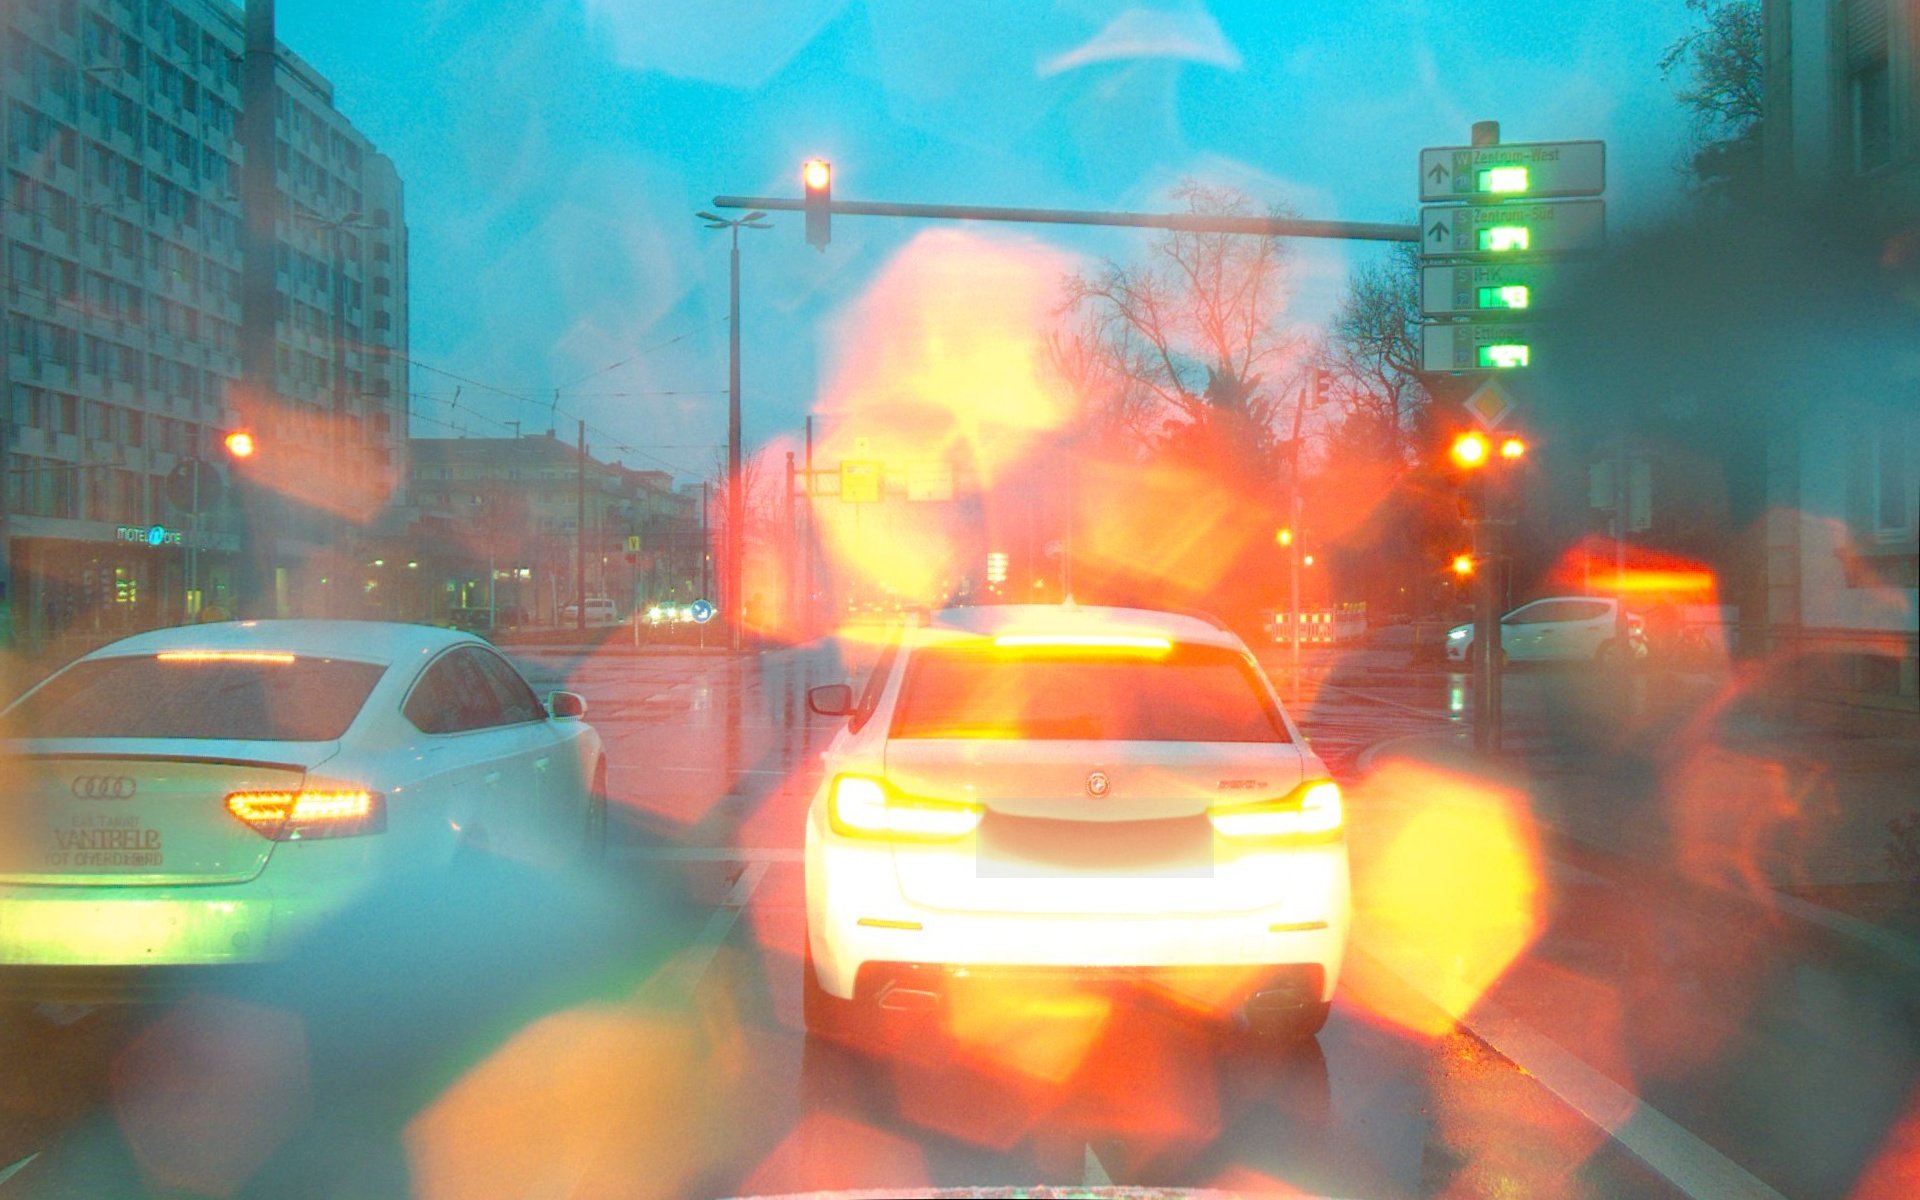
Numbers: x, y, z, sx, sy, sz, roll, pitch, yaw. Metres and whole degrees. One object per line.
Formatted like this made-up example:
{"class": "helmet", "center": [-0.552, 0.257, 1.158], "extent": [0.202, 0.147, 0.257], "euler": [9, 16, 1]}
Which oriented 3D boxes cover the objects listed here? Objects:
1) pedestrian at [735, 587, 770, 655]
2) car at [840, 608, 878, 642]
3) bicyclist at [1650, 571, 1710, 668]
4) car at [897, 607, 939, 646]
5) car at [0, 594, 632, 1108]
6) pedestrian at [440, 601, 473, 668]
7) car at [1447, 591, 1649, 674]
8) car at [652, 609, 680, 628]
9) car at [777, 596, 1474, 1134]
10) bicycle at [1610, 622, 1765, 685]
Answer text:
{"class": "pedestrian", "center": [-5.848, 0.584, 46.584], "extent": [0.887, 1.888, 0.810], "euler": [2, -1, -12]}
{"class": "car", "center": [-5.000, 1.240, 82.209], "extent": [1.806, 1.637, 3.942], "euler": [1, -1, -3]}
{"class": "bicyclist", "center": [13.647, 0.367, 31.365], "extent": [0.952, 1.789, 0.813], "euler": [1, -1, 18]}
{"class": "car", "center": [-1.884, 1.189, 74.169], "extent": [1.806, 1.637, 3.943], "euler": [1, -1, -2]}
{"class": "car", "center": [-2.707, 0.724, 6.983], "extent": [1.954, 1.481, 4.366], "euler": [0, 0, -3]}
{"class": "pedestrian", "center": [-13.423, 0.912, 44.128], "extent": [0.777, 1.741, 0.809], "euler": [2, -1, -16]}
{"class": "car", "center": [12.281, 0.667, 34.608], "extent": [3.874, 1.581, 1.749], "euler": [1, -1, 21]}
{"class": "car", "center": [-24.336, 1.553, 137.007], "extent": [1.641, 1.534, 3.695], "euler": [1, -1, -1]}
{"class": "car", "center": [0.374, 0.734, 6.812], "extent": [1.954, 1.481, 4.366], "euler": [0, 0, -3]}
{"class": "bicycle", "center": [13.738, 1.003, 31.311], "extent": [2.611, 1.108, 0.815], "euler": [1, -1, 19]}
